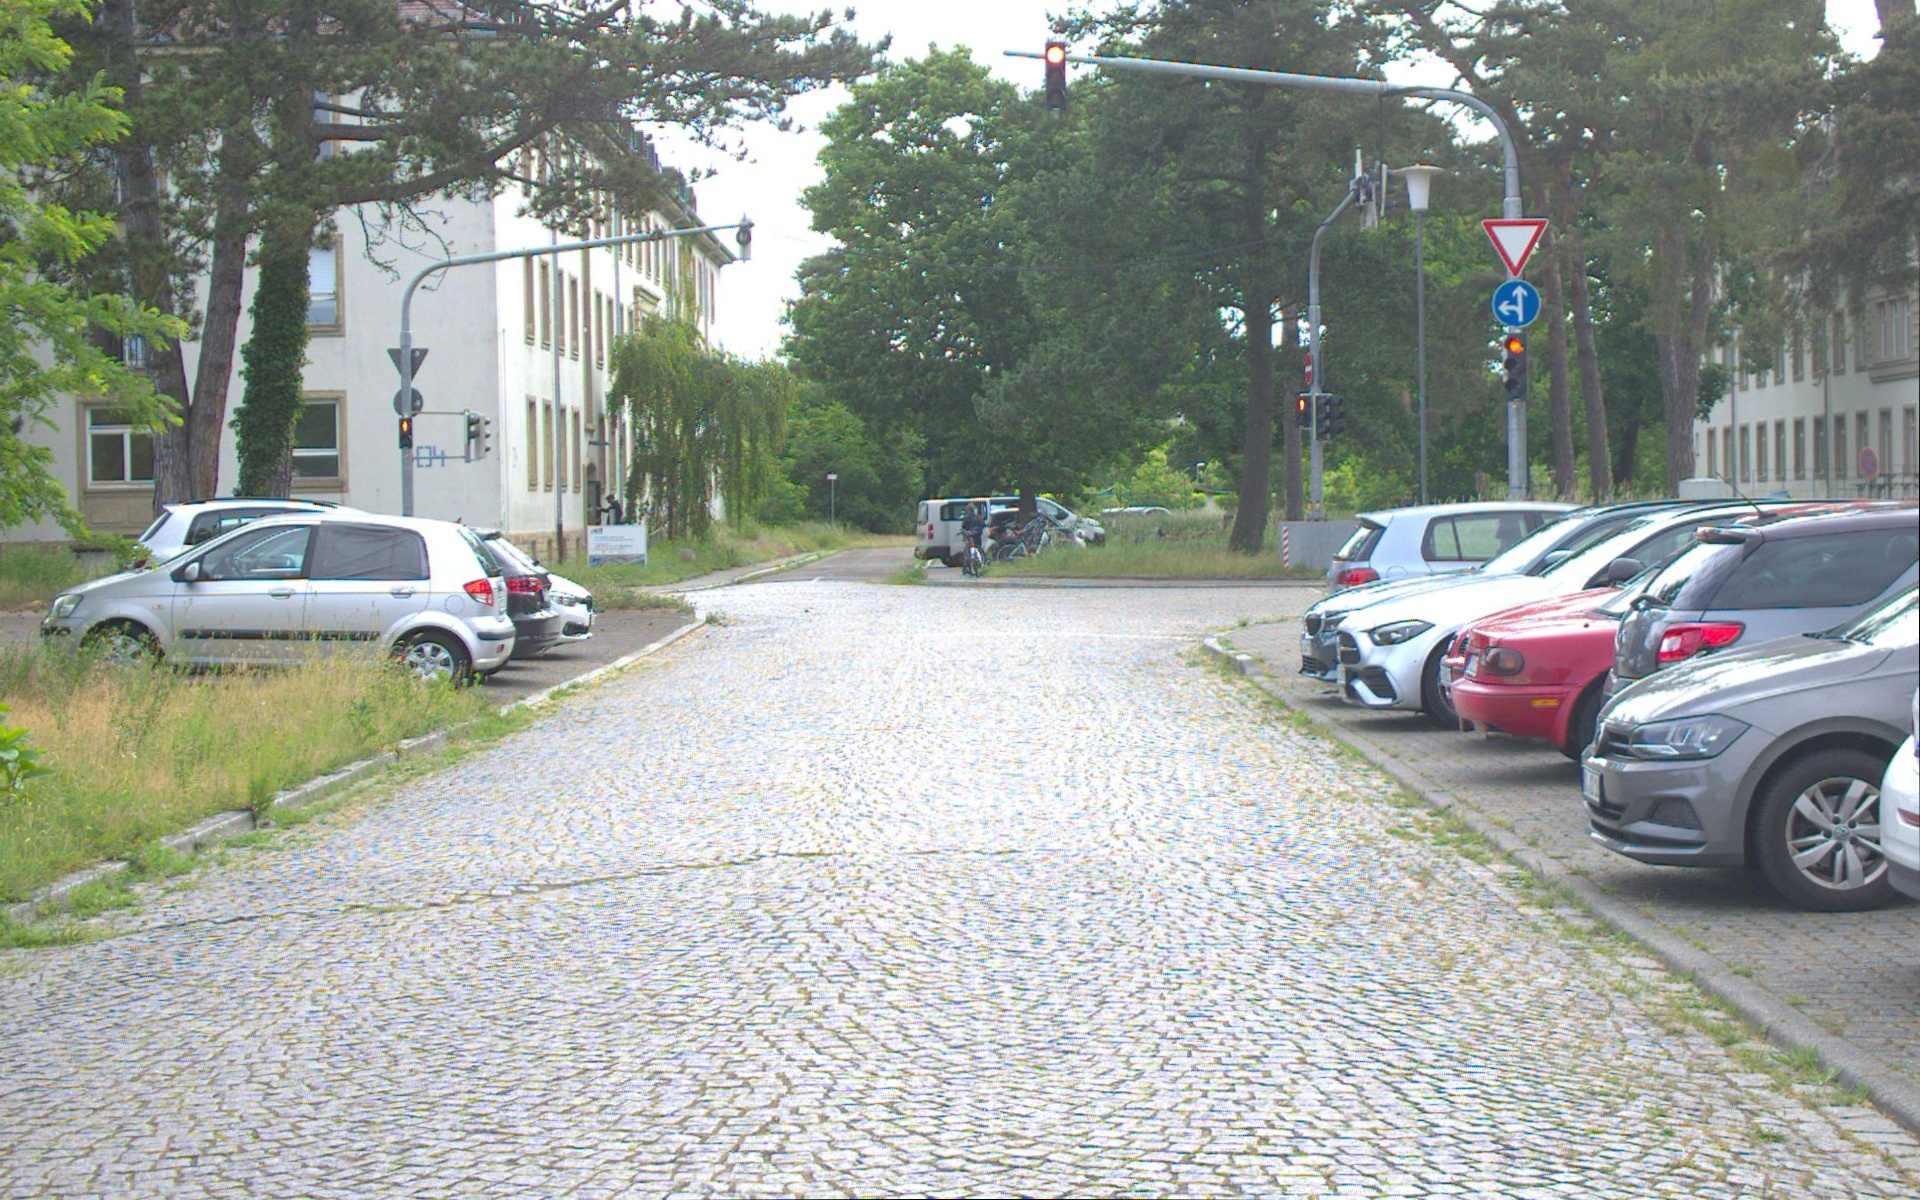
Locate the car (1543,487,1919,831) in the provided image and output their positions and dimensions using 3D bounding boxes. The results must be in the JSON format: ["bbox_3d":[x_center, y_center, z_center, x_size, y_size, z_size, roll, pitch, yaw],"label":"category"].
[{"bbox_3d":[4.881,0.191,16.329,3.862,1.467,1.758,-3,2,0],"label":"car"}]

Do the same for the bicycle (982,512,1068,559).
[{"bbox_3d":[1.507,-1.507,79.841,1.955,1.066,0.588,-2,2,-29],"label":"bicycle"}]

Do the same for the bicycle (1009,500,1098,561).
[{"bbox_3d":[2.150,-1.600,79.178,1.954,1.379,0.588,-1,2,-6],"label":"bicycle"}]

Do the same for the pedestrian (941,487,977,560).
[{"bbox_3d":[-0.019,-1.718,77.389,0.738,1.613,0.776,-1,1,-3],"label":"pedestrian"}]

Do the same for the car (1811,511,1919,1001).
[{"bbox_3d":[4.810,0.393,10.626,3.862,1.467,1.758,-3,2,0],"label":"car"}]

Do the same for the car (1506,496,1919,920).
[{"bbox_3d":[4.267,0.315,13.467,3.862,1.467,1.758,-3,2,-3],"label":"car"}]

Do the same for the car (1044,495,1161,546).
[{"bbox_3d":[4.120,-2.301,99.645,3.231,1.411,1.725,-1,2,-2],"label":"car"}]

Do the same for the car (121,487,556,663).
[{"bbox_3d":[-6.010,-0.261,33.558,3.947,1.558,1.650,2,2,-2],"label":"car"}]

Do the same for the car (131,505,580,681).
[{"bbox_3d":[-5.352,-0.082,30.773,3.745,1.423,1.583,2,2,-2],"label":"car"}]

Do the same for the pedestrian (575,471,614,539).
[{"bbox_3d":[-9.952,-2.580,93.592,0.774,1.831,0.741,-2,2,-31],"label":"pedestrian"}]

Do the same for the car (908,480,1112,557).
[{"bbox_3d":[1.368,-2.271,95.799,5.359,1.918,2.025,-2,2,-8],"label":"car"}]

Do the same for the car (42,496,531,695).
[{"bbox_3d":[-5.461,-0.058,28.176,3.702,1.474,1.583,2,2,-2],"label":"car"}]

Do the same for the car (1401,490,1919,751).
[{"bbox_3d":[5.028,0.075,21.438,4.262,1.411,1.871,-3,2,0],"label":"car"}]

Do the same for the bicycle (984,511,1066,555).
[{"bbox_3d":[1.600,-1.661,84.875,1.954,1.066,0.588,-2,2,-24],"label":"bicycle"}]

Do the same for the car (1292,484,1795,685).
[{"bbox_3d":[4.832,-0.152,28.845,3.927,1.472,1.642,-2,2,2],"label":"car"}]

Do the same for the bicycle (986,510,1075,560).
[{"bbox_3d":[1.606,-1.490,78.356,1.954,1.113,0.588,-1,2,-6],"label":"bicycle"}]

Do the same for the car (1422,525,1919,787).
[{"bbox_3d":[4.617,0.252,18.865,3.862,1.232,1.758,-3,2,0],"label":"car"}]

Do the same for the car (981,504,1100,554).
[{"bbox_3d":[2.154,-1.911,92.424,3.005,1.264,1.535,-1,2,-5],"label":"car"}]

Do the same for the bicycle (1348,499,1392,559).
[{"bbox_3d":[7.809,-1.359,65.528,0.586,1.102,1.962,-1,2,0],"label":"bicycle"}]

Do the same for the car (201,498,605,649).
[{"bbox_3d":[-5.799,-0.295,36.098,3.947,1.416,1.650,2,2,0],"label":"car"}]

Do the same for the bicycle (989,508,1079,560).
[{"bbox_3d":[1.667,-1.496,77.722,1.954,1.128,0.588,-1,2,-6],"label":"bicycle"}]

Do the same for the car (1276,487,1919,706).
[{"bbox_3d":[4.897,-0.053,26.394,4.680,1.411,1.871,-3,2,-2],"label":"car"}]

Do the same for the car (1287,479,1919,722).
[{"bbox_3d":[4.666,-0.037,23.709,4.421,1.411,1.871,-3,2,-8],"label":"car"}]

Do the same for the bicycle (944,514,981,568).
[{"bbox_3d":[0.046,-1.286,74.551,0.603,1.128,1.962,-1,2,-5],"label":"bicycle"}]
